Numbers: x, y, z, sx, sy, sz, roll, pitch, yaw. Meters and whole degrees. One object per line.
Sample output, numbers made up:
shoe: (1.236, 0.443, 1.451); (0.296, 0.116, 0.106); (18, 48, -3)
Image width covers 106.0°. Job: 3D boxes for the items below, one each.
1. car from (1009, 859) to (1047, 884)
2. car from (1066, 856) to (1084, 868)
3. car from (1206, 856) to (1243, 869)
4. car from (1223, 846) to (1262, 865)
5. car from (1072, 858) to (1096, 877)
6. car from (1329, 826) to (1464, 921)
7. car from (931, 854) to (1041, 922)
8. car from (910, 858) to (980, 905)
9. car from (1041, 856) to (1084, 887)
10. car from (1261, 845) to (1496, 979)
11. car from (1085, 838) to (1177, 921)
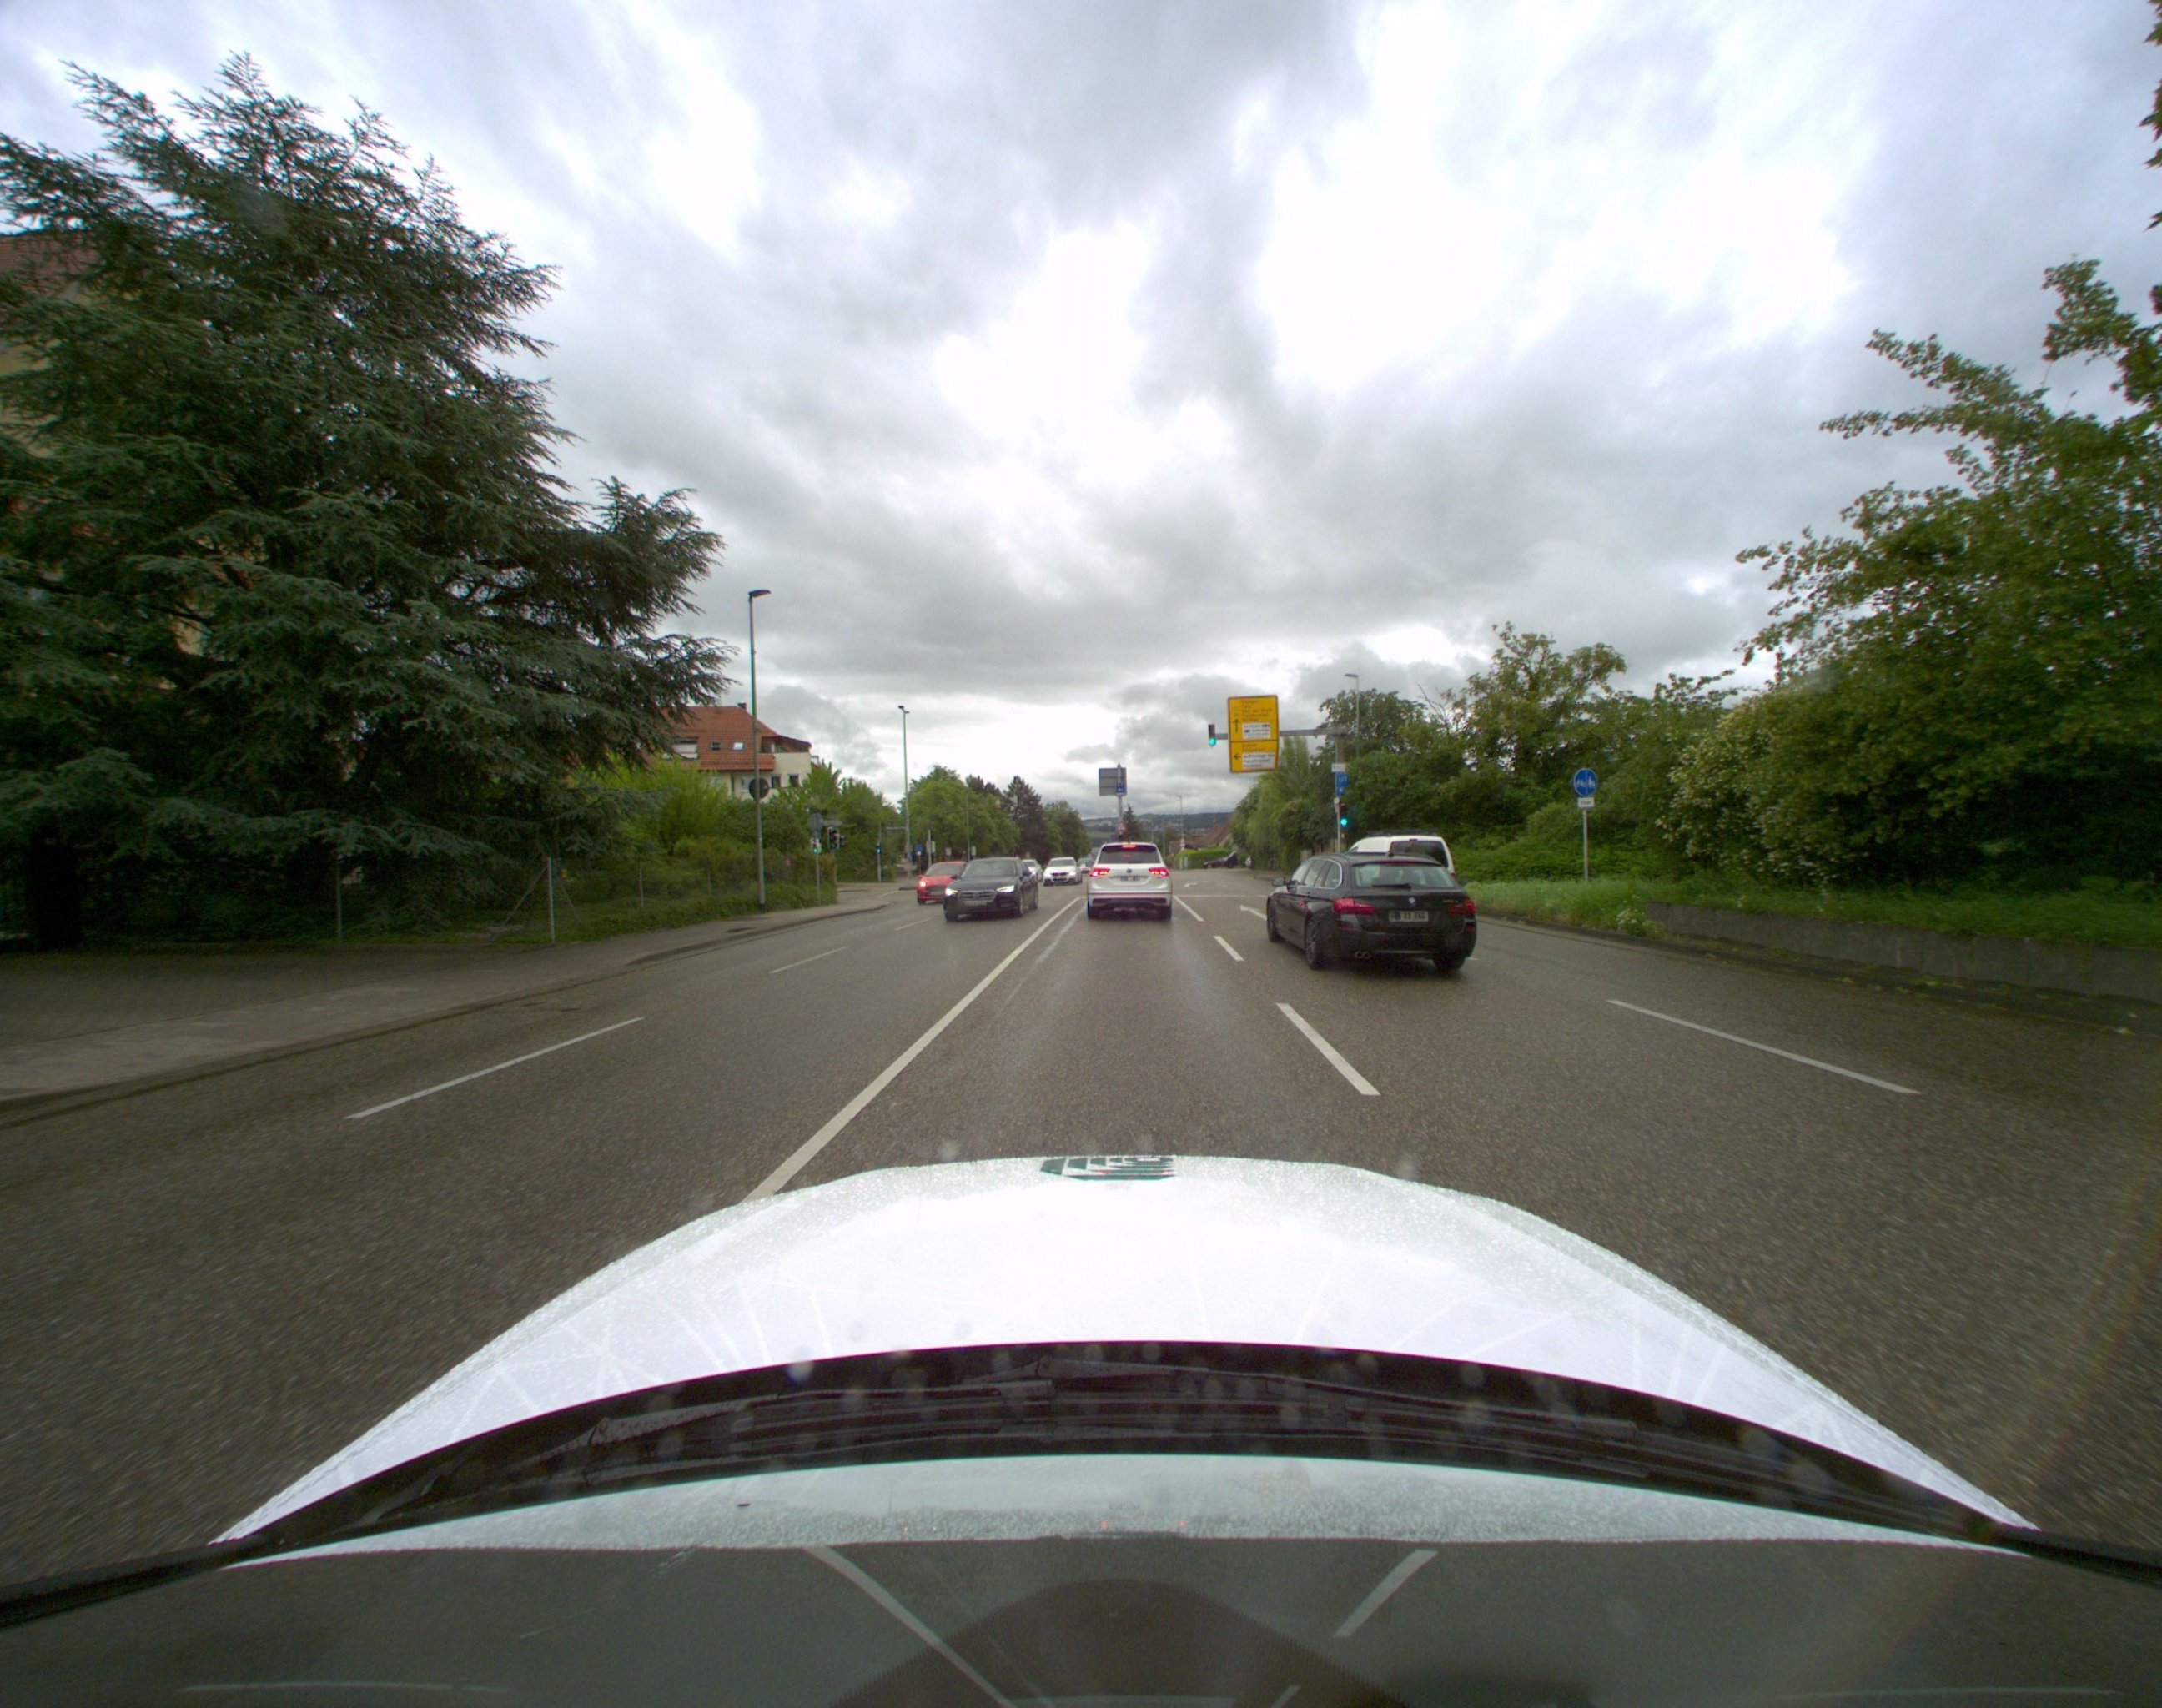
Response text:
car: (-3.246, 1.060, 50.724); (1.767, 1.385, 4.553); (-2, 0, 3)
car: (-0.647, 0.922, 93.036); (1.642, 1.273, 3.626); (-2, 0, 5)
car: (16.028, 0.943, 91.184); (3.966, 1.376, 1.588); (0, 0, 6)
car: (17.083, 0.181, 86.319); (3.966, 1.956, 1.588); (0, 0, 6)
car: (0.283, 1.105, 68.979); (1.767, 1.458, 4.553); (-2, 0, 3)
car: (6.948, 0.334, 18.363); (1.757, 1.877, 3.809); (-1, 2, 3)
car: (-2.222, 0.758, 20.242); (1.884, 1.404, 4.269); (-3, 0, 4)
car: (-4.833, 0.948, 29.417); (1.625, 1.456, 3.705); (-4, 0, 3)
car: (-0.916, 0.885, 42.907); (1.741, 1.385, 4.416); (-3, 0, 4)
car: (3.749, 0.652, 11.076); (1.891, 1.441, 4.003); (-2, 0, 3)
car: (1.132, 0.510, 18.682); (1.861, 1.673, 4.003); (-1, 0, 3)
